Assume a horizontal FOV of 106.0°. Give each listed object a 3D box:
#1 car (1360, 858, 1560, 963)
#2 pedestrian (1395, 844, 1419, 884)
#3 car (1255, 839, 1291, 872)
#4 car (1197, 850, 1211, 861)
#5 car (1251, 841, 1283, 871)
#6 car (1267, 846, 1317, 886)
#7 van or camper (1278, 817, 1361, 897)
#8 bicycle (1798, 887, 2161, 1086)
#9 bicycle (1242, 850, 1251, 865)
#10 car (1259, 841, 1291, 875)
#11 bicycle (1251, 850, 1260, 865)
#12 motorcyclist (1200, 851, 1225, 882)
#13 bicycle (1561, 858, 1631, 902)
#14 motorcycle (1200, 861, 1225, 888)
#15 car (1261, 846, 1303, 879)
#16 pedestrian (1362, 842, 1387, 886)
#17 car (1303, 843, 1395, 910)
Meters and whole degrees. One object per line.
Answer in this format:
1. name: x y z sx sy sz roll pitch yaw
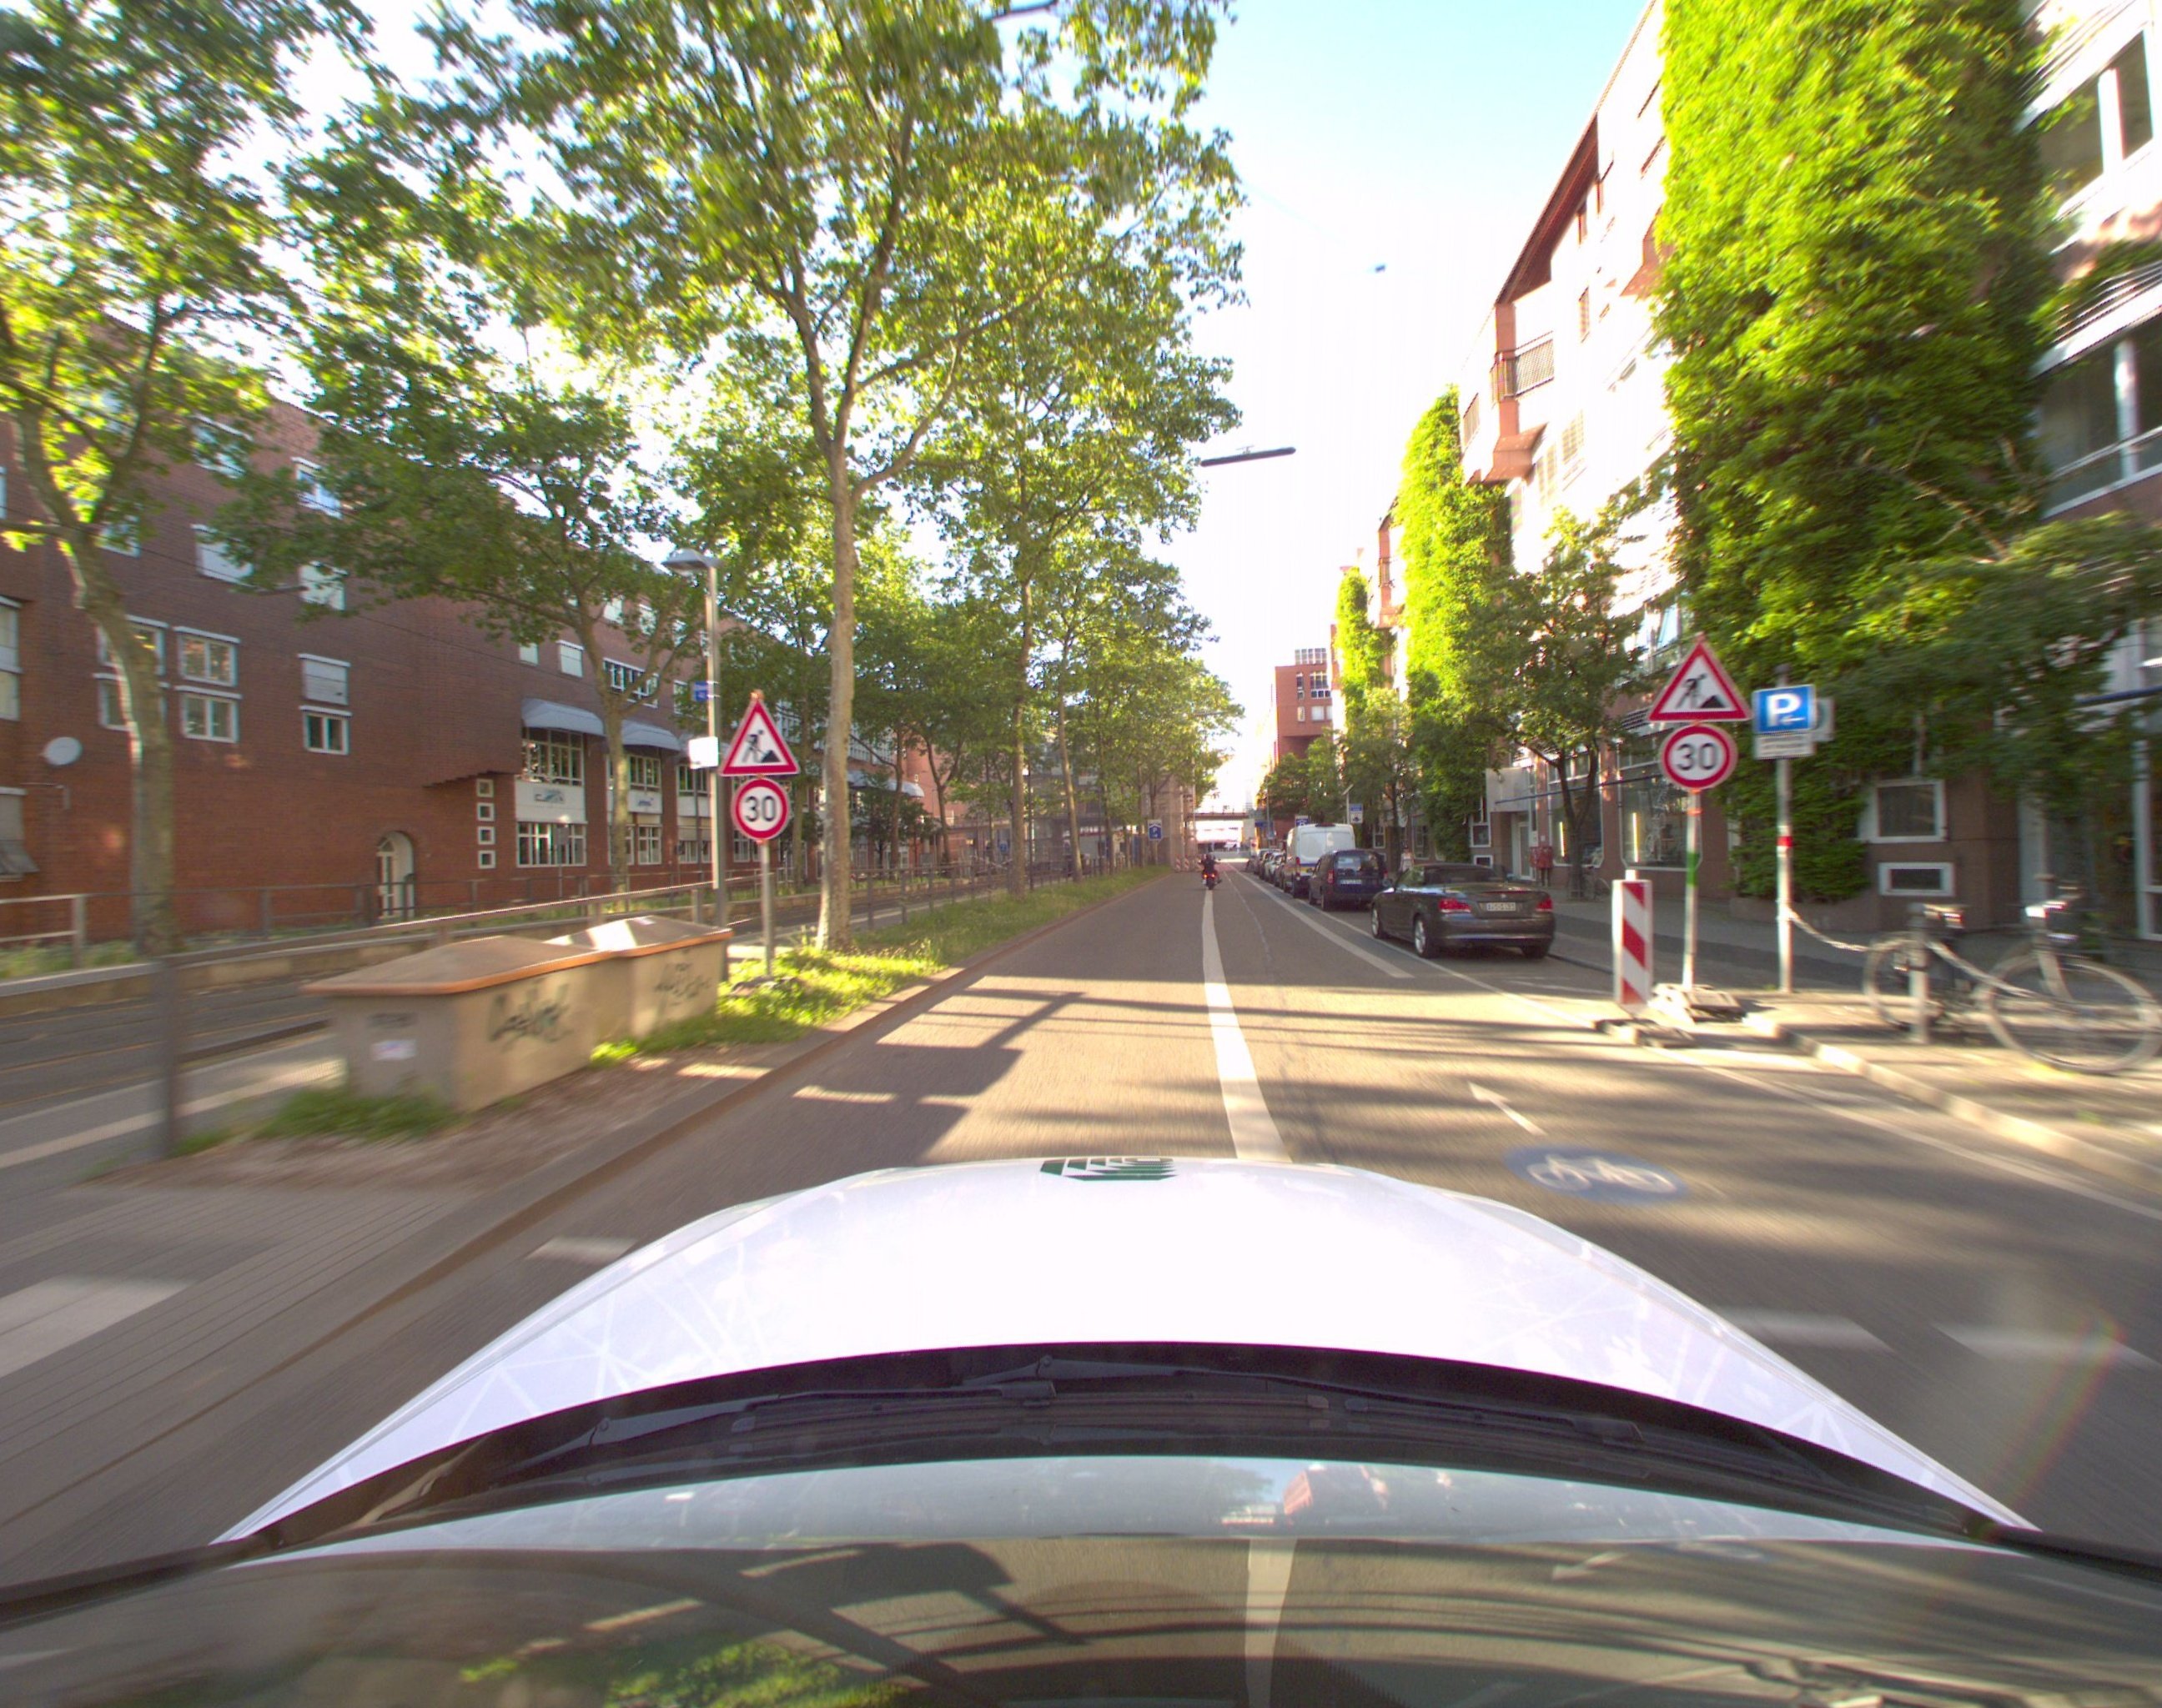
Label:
1. car: 5.734 0.762 12.907 1.611 1.302 4.320 -2 0 7
2. pedestrian: 11.866 0.352 29.662 0.758 1.445 0.784 -1 0 24
3. car: 12.343 0.080 52.580 1.825 2.013 4.398 -2 0 8
4. car: 18.866 0.223 125.321 1.843 1.717 4.006 -2 0 5
5. car: 13.369 0.111 58.740 1.825 2.013 4.398 -2 0 8
6. car: 9.318 0.491 36.143 1.612 1.603 3.782 -2 0 7
7. van or camper: 8.412 0.069 29.260 2.037 2.540 5.787 -2 0 9
8. bicycle: 6.219 0.810 5.675 0.737 1.053 1.746 -2 1 -10
9. bicycle: 14.280 0.321 70.351 0.660 1.234 2.234 -2 0 10
10. car: 11.088 0.189 46.819 1.610 1.865 3.786 -2 0 11
11. bicycle: 15.047 0.311 70.203 0.660 1.234 2.234 -2 0 10
12. motorcyclist: 5.635 0.530 34.844 1.005 1.263 0.776 1 1 11
13. bicycle: 13.171 0.637 20.898 0.615 1.020 1.914 -1 0 1
14. motorcycle: 5.620 0.860 34.808 1.012 1.097 2.013 -1 1 9
15. car: 10.428 0.395 42.427 1.612 1.610 3.782 -2 0 7
16. pedestrian: 11.316 0.377 31.410 0.760 1.644 0.547 -2 0 1
17. car: 7.237 0.538 22.410 1.611 1.619 4.495 -2 0 8
